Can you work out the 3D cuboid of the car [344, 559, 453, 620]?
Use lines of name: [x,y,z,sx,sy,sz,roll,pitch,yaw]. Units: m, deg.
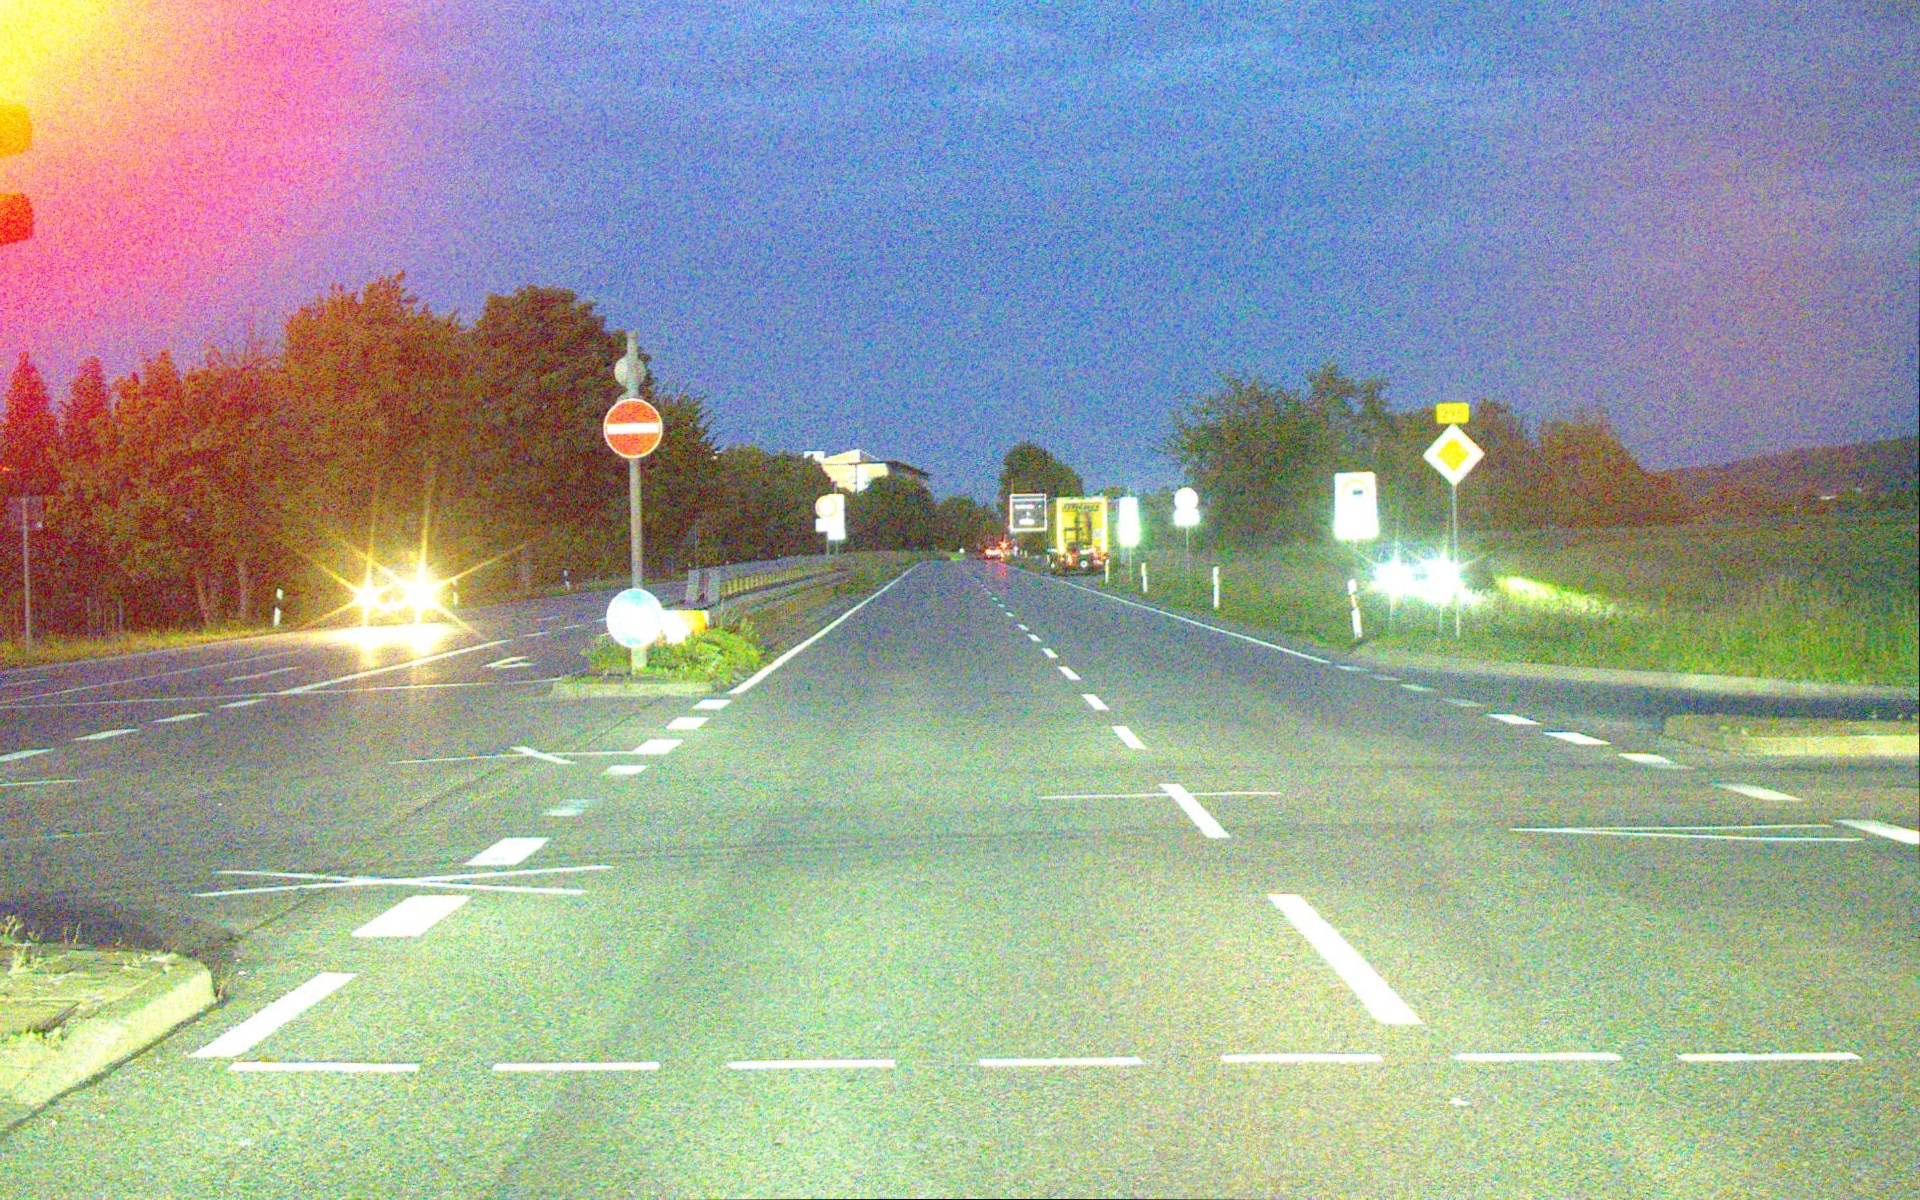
car: [-13.566,-0.271,83.247,1.993,1.382,4.000,-1,1,-1]
